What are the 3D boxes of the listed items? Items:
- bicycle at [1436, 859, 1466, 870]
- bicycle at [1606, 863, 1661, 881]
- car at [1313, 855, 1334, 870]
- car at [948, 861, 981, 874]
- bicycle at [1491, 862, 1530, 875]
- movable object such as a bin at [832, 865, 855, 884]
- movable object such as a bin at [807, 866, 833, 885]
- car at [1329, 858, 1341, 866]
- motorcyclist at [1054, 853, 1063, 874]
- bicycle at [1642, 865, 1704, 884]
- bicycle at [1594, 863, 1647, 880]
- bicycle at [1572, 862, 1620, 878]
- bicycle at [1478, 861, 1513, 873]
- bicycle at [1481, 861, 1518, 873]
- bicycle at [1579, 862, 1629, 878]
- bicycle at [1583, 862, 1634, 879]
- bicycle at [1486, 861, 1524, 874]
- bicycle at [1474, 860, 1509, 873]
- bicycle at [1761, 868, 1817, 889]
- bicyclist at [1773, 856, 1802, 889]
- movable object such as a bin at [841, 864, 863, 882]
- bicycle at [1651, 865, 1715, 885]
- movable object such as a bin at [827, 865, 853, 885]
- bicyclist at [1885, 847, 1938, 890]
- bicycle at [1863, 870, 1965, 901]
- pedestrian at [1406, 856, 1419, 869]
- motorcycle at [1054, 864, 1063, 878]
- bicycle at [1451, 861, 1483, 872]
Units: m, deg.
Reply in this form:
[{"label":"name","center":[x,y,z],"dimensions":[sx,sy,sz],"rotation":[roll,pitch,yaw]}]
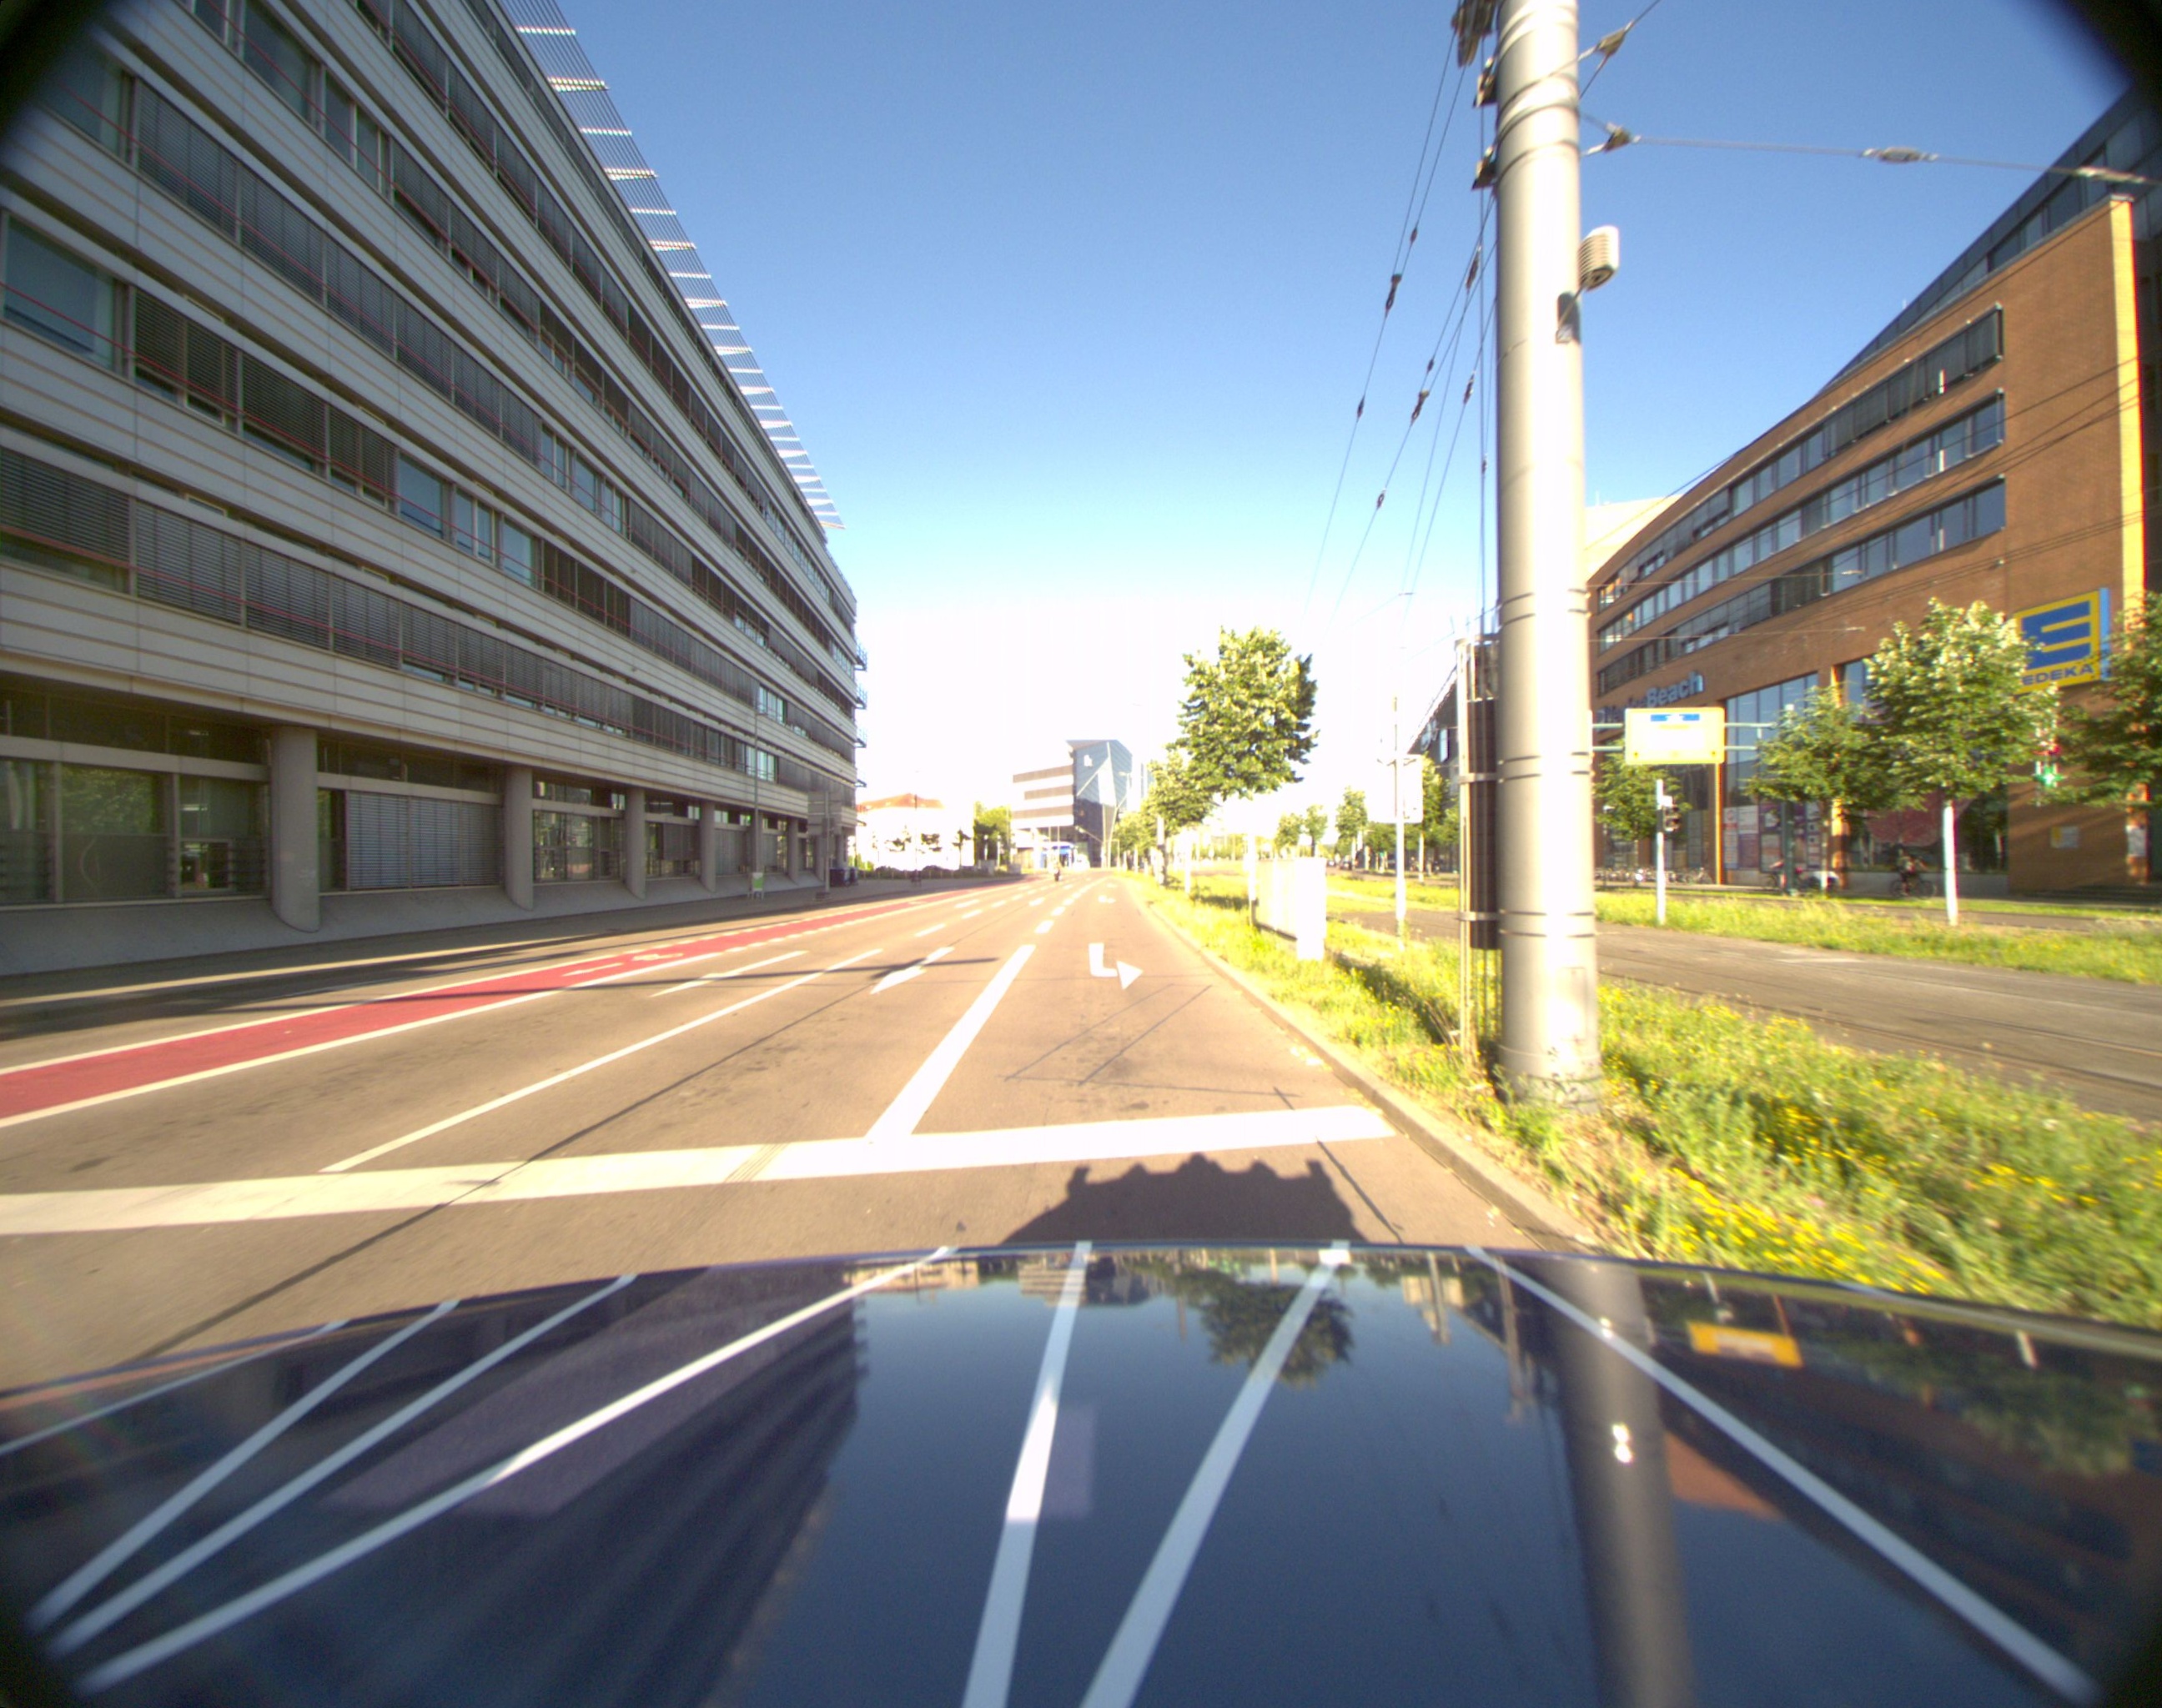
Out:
[{"label":"bicycle","center":[39.098,1.116,80.361],"dimensions":[2.687,1.182,0.897],"rotation":[0,-1,12]},{"label":"bicycle","center":[35.272,1.146,48.513],"dimensions":[2.687,1.097,0.897],"rotation":[0,-1,12]},{"label":"car","center":[25.730,0.927,80.688],"dimensions":[1.624,1.519,4.808],"rotation":[-1,0,12]},{"label":"car","center":[-14.095,1.634,91.681],"dimensions":[3.790,1.523,1.744],"rotation":[-1,0,38]},{"label":"bicycle","center":[36.021,1.196,63.733],"dimensions":[2.687,1.097,0.897],"rotation":[0,-1,12]},{"label":"movable object such as a bin","center":[-17.090,1.455,54.759],"dimensions":[1.173,1.293,1.329],"rotation":[-1,0,2]},{"label":"movable object such as a bin","center":[-17.711,1.465,51.618],"dimensions":[1.328,1.293,1.174],"rotation":[-1,0,1]},{"label":"car","center":[49.061,1.603,146.792],"dimensions":[1.623,1.519,4.363],"rotation":[0,0,25]},{"label":"motorcyclist","center":[-1.992,0.809,67.116],"dimensions":[0.821,1.846,1.112],"rotation":[0,0,-1]},{"label":"bicycle","center":[34.199,1.187,43.950],"dimensions":[2.687,1.097,0.897],"rotation":[0,-1,12]},{"label":"bicycle","center":[35.362,1.141,49.851],"dimensions":[2.687,1.097,0.897],"rotation":[0,-1,12]},{"label":"bicycle","center":[36.499,1.152,53.860],"dimensions":[2.687,1.097,0.897],"rotation":[0,-1,12]},{"label":"bicycle","center":[37.221,1.147,68.264],"dimensions":[2.687,1.097,0.826],"rotation":[0,-1,12]},{"label":"bicycle","center":[37.050,1.154,67.291],"dimensions":[2.687,1.097,0.897],"rotation":[0,-1,12]},{"label":"bicycle","center":[36.244,1.139,52.703],"dimensions":[2.687,1.097,0.897],"rotation":[0,-1,12]},{"label":"bicycle","center":[35.714,1.127,51.485],"dimensions":[2.687,1.097,0.897],"rotation":[0,-1,12]},{"label":"bicycle","center":[36.582,1.173,65.599],"dimensions":[2.687,1.097,0.897],"rotation":[0,-1,12]},{"label":"bicycle","center":[37.353,1.146,69.173],"dimensions":[2.687,1.097,0.897],"rotation":[0,-1,12]},{"label":"bicycle","center":[32.825,1.122,35.267],"dimensions":[0.691,0.944,2.067],"rotation":[-1,0,1]},{"label":"bicyclist","center":[32.829,0.834,35.335],"dimensions":[0.691,1.521,0.703],"rotation":[-1,0,0]},{"label":"movable object such as a bin","center":[-16.908,1.427,56.100],"dimensions":[1.173,1.293,1.329],"rotation":[-1,0,2]},{"label":"bicycle","center":[33.987,1.170,42.925],"dimensions":[2.687,1.097,0.897],"rotation":[0,-1,12]},{"label":"movable object such as a bin","center":[-16.349,1.435,51.554],"dimensions":[1.328,1.293,1.174],"rotation":[-1,0,1]},{"label":"bicyclist","center":[30.649,0.542,28.049],"dimensions":[0.895,1.539,0.939],"rotation":[0,-1,2]},{"label":"bicycle","center":[30.650,1.133,28.037],"dimensions":[0.895,1.097,2.692],"rotation":[0,-1,2]},{"label":"pedestrian","center":[40.339,1.026,92.465],"dimensions":[1.072,1.671,1.095],"rotation":[-1,0,-5]},{"label":"motorcycle","center":[-1.987,1.510,67.019],"dimensions":[0.821,1.214,2.255],"rotation":[0,0,-1]},{"label":"bicycle","center":[37.969,1.207,74.808],"dimensions":[2.687,1.097,0.897],"rotation":[0,-1,12]}]
